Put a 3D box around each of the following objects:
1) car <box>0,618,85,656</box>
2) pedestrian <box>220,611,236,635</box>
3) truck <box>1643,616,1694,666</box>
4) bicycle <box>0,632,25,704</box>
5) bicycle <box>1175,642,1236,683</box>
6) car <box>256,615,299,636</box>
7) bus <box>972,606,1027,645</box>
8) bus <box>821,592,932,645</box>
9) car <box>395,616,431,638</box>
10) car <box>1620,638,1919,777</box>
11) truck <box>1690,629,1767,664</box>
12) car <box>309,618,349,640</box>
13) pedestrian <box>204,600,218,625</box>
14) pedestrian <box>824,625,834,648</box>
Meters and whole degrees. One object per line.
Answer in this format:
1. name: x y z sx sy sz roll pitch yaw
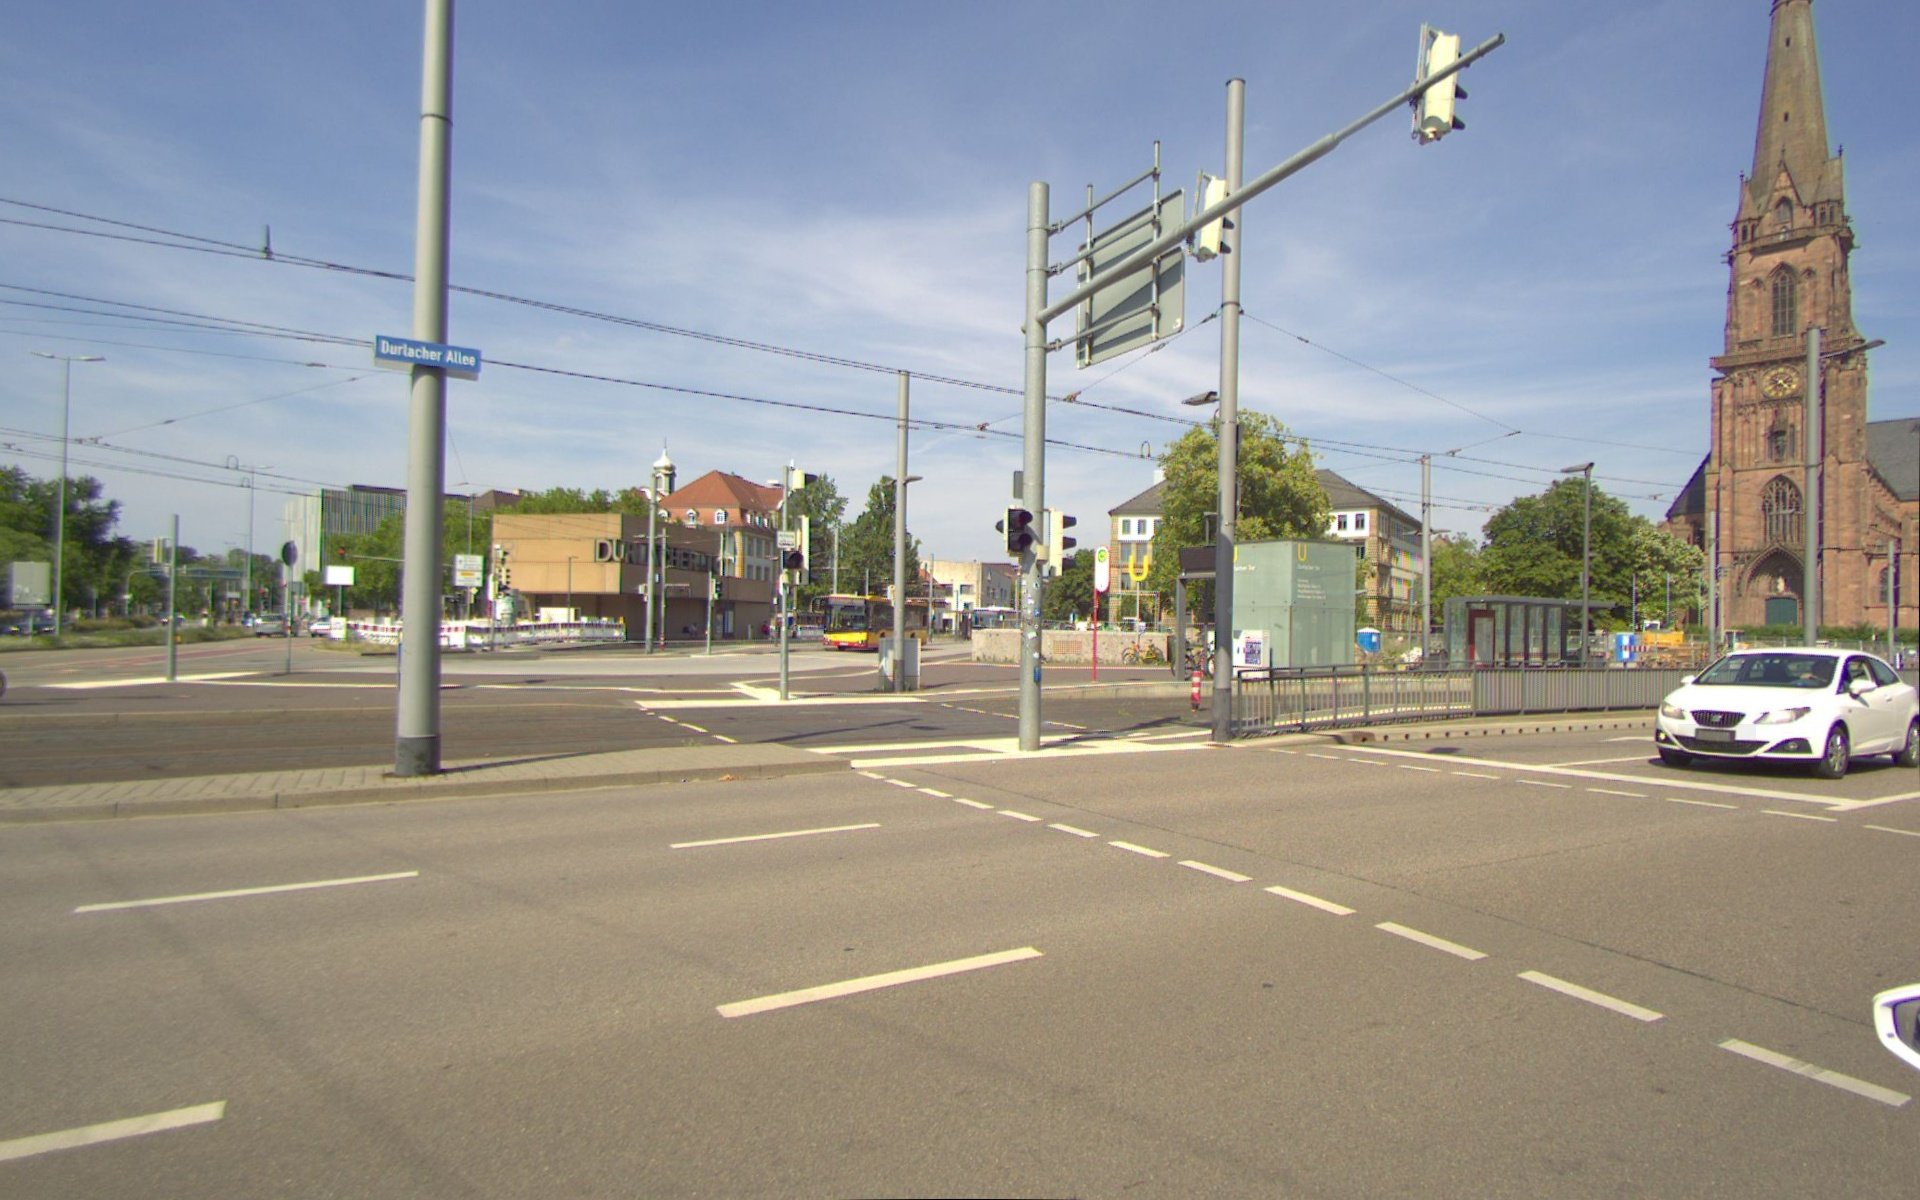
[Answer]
1. car: -48.465 1.919 53.124 1.972 1.906 4.405 2 -2 -23
2. pedestrian: -52.056 1.608 71.423 0.632 1.696 0.751 1 -1 -11
3. truck: 53.481 3.083 75.788 2.981 3.616 6.020 0 -2 37
4. bicycle: -15.973 1.033 15.675 1.823 1.098 0.747 3 -2 -24
5. bicycle: 6.886 1.747 28.220 1.634 1.085 0.413 -1 -1 -12
6. car: -43.603 1.606 64.213 1.577 1.304 3.977 -1 0 -24
7. bus: 3.838 2.366 93.596 2.703 3.366 11.796 1 -2 14
8. bus: -4.553 0.995 58.345 2.703 2.718 11.794 -1 0 14
9. car: -36.933 1.787 67.836 1.778 1.439 3.977 -1 0 -24
10. car: 9.965 1.209 12.070 4.077 1.416 1.746 2 -5 -31
11. truck: 62.499 3.744 81.741 2.354 2.714 4.386 2 -2 -25
12. car: -40.528 1.830 64.607 1.577 1.304 3.977 -1 0 -24
13. pedestrian: -52.740 0.890 70.723 0.532 1.696 0.750 1 -1 -13
14. pedestrian: -8.368 2.322 64.094 0.530 1.385 0.909 -1 0 -13
